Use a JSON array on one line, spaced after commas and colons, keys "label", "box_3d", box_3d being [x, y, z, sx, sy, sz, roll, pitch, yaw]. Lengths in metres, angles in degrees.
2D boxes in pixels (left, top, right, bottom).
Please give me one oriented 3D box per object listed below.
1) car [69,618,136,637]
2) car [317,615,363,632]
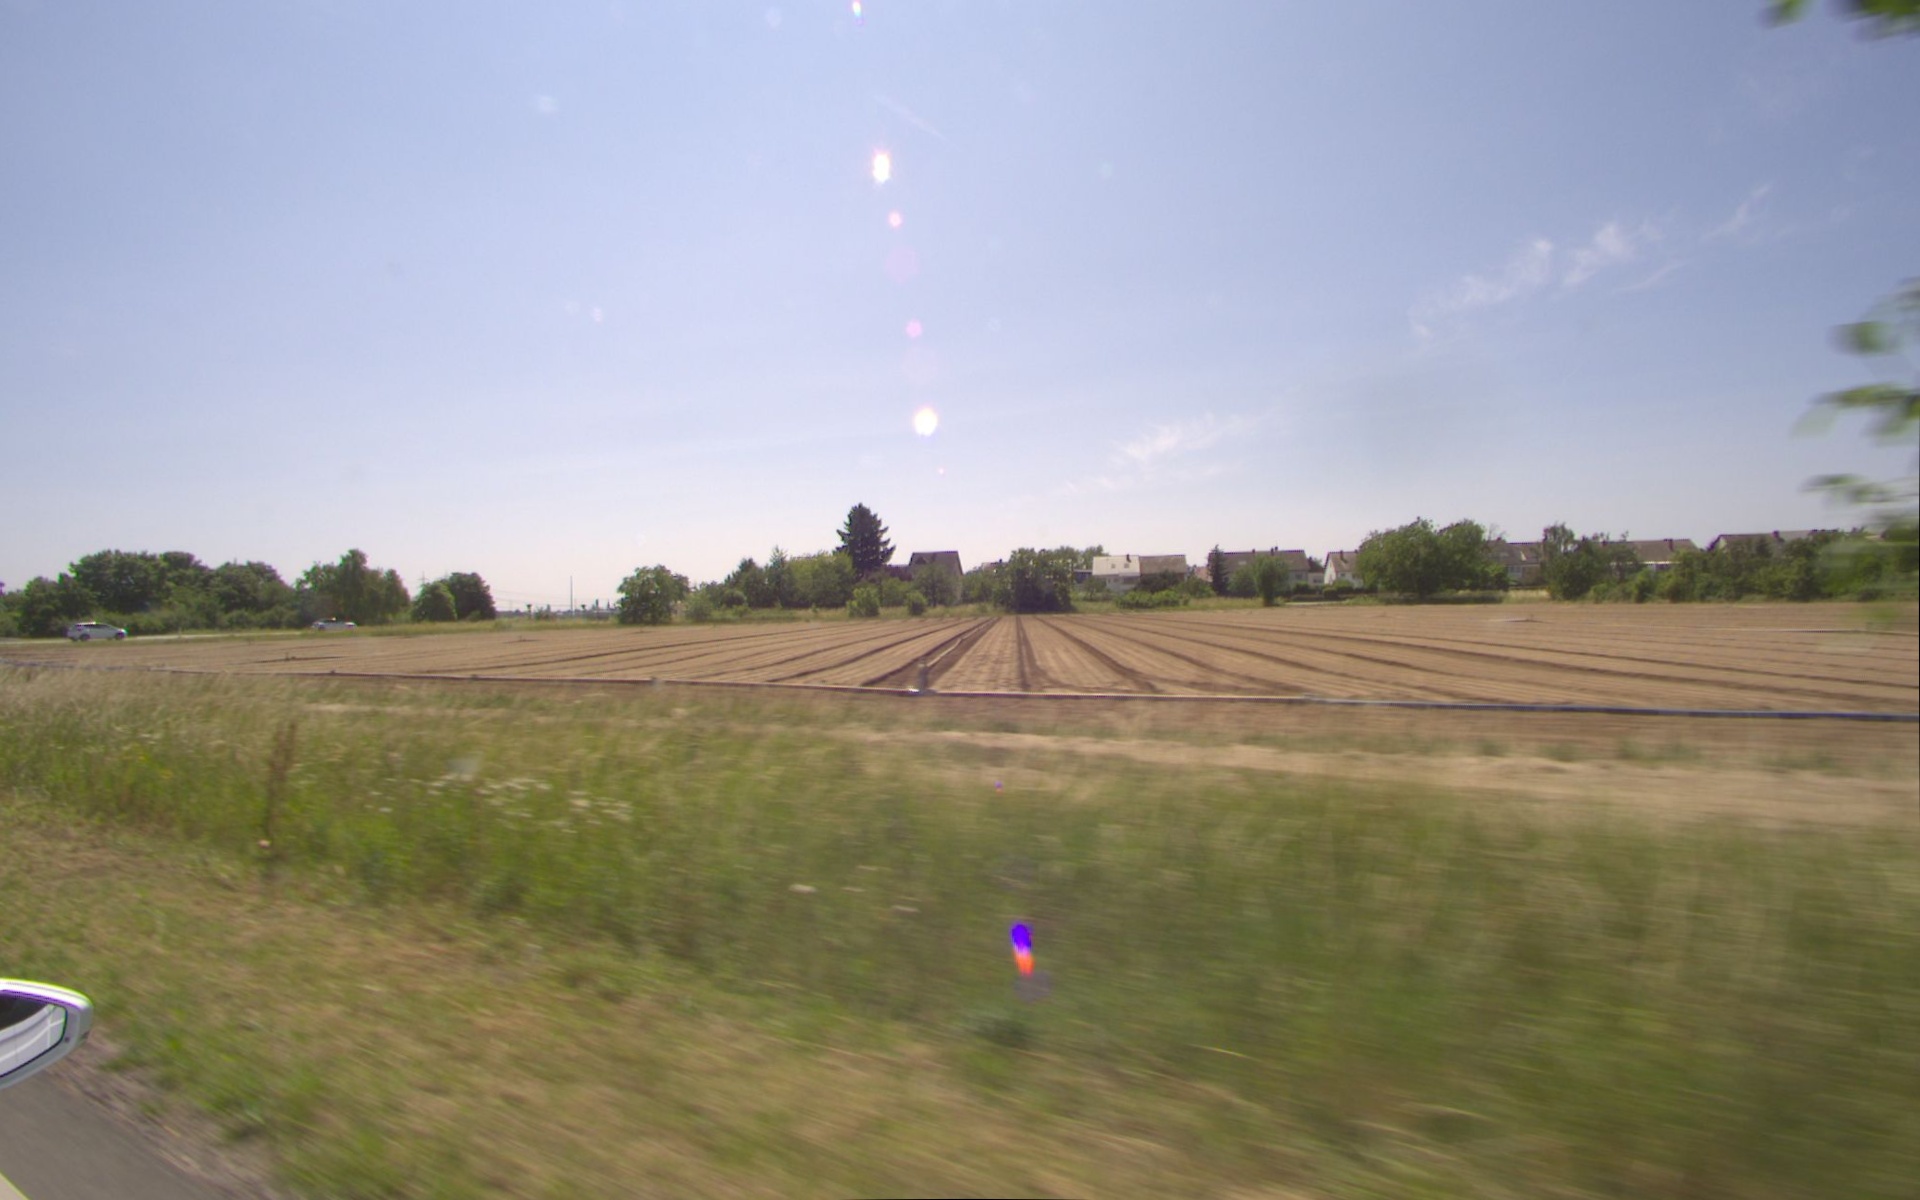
[{"label": "car", "box_3d": [-77.080, 2.459, 90.072, 2.039, 1.645, 4.126, -1, 0, 27]}, {"label": "car", "box_3d": [-65.053, 2.445, 105.118, 3.951, 1.645, 1.632, -1, 0, -37]}]
